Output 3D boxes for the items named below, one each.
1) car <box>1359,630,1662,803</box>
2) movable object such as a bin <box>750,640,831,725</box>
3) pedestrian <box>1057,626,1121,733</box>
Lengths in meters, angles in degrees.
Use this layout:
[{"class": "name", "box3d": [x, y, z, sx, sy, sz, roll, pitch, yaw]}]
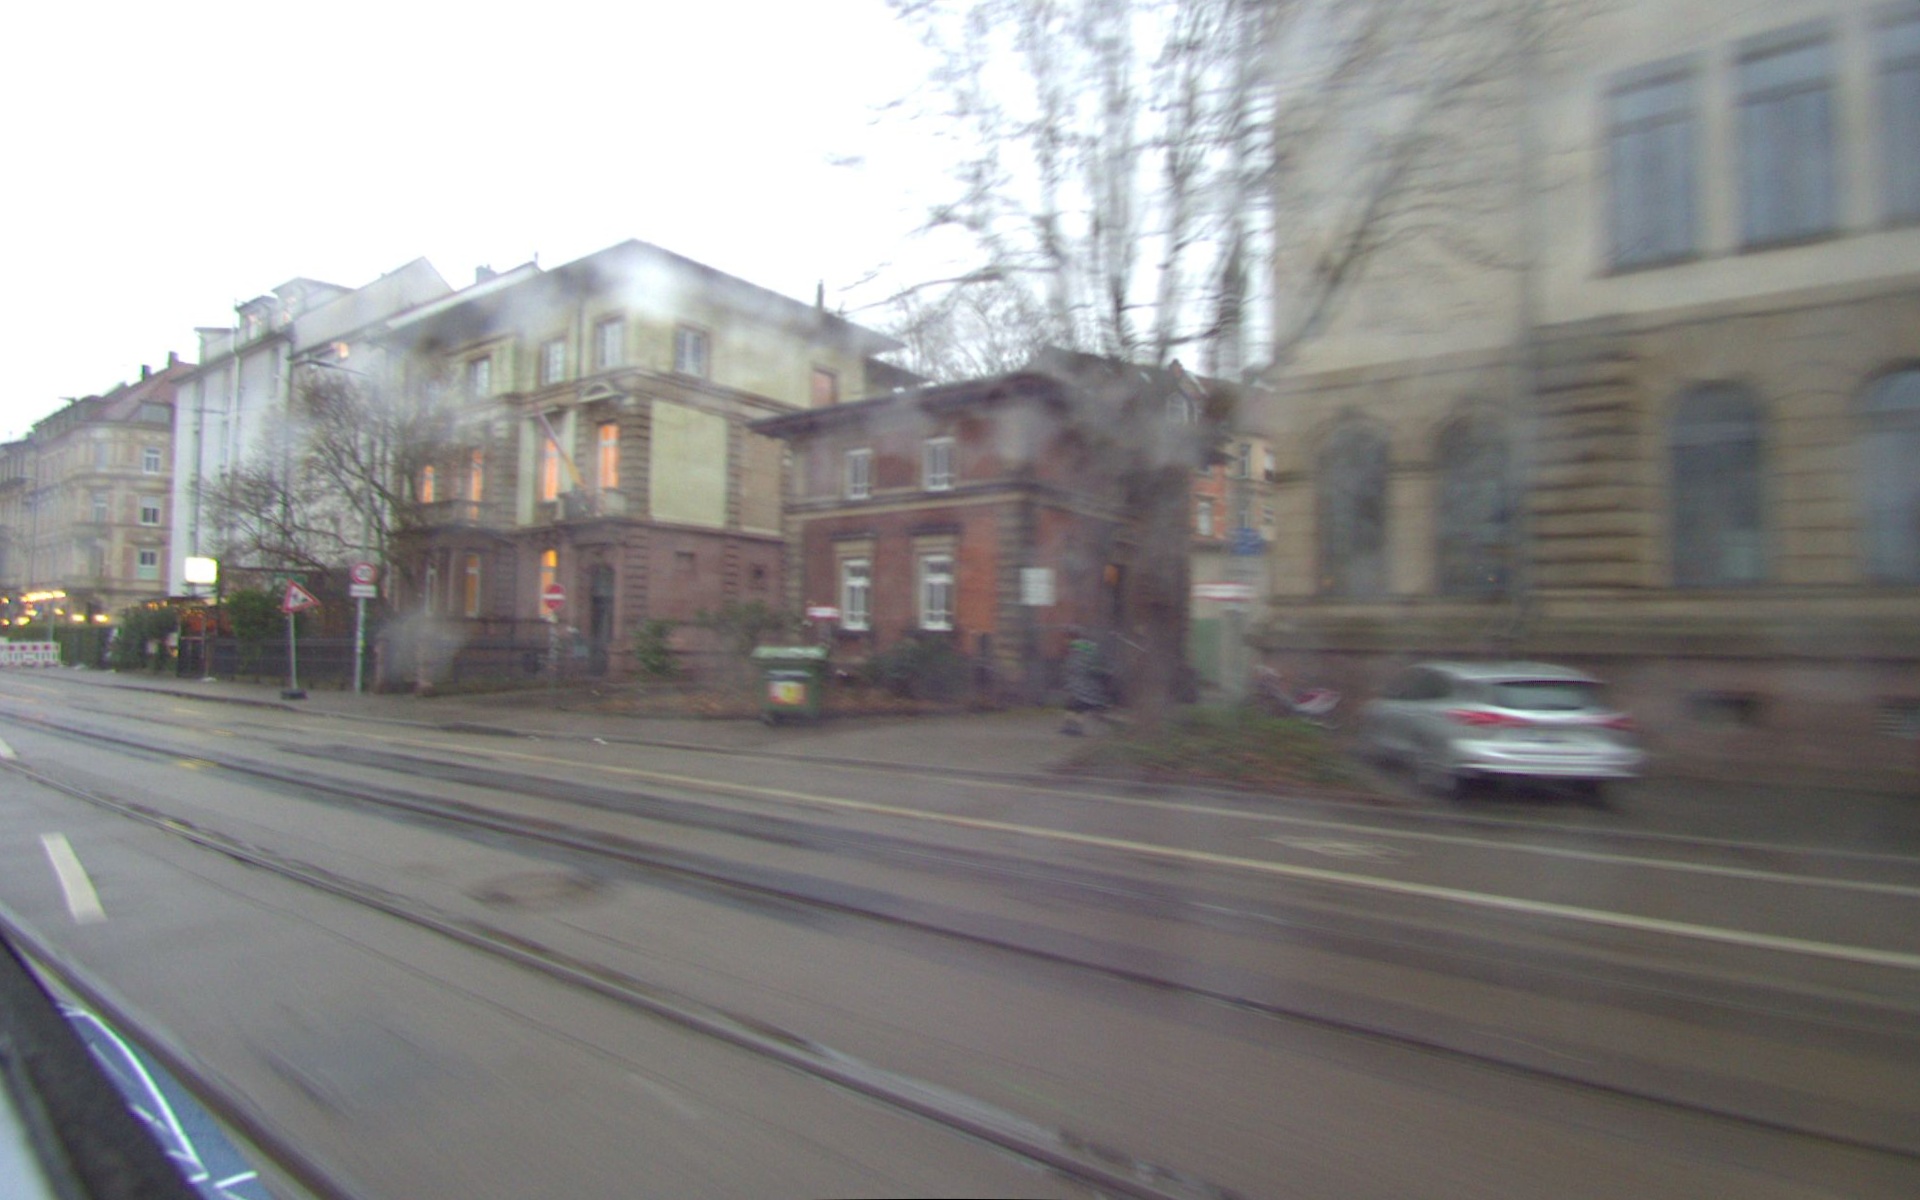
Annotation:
[{"class": "car", "box3d": [6.242, 1.209, 12.083, 1.754, 1.603, 4.175, -1, -1, 8]}, {"class": "movable object such as a bin", "box3d": [-3.108, 1.497, 18.660, 1.325, 1.475, 0.986, -1, -1, 0]}, {"class": "pedestrian", "box3d": [2.172, 1.307, 16.980, 0.939, 1.716, 0.919, -1, -1, 15]}]
